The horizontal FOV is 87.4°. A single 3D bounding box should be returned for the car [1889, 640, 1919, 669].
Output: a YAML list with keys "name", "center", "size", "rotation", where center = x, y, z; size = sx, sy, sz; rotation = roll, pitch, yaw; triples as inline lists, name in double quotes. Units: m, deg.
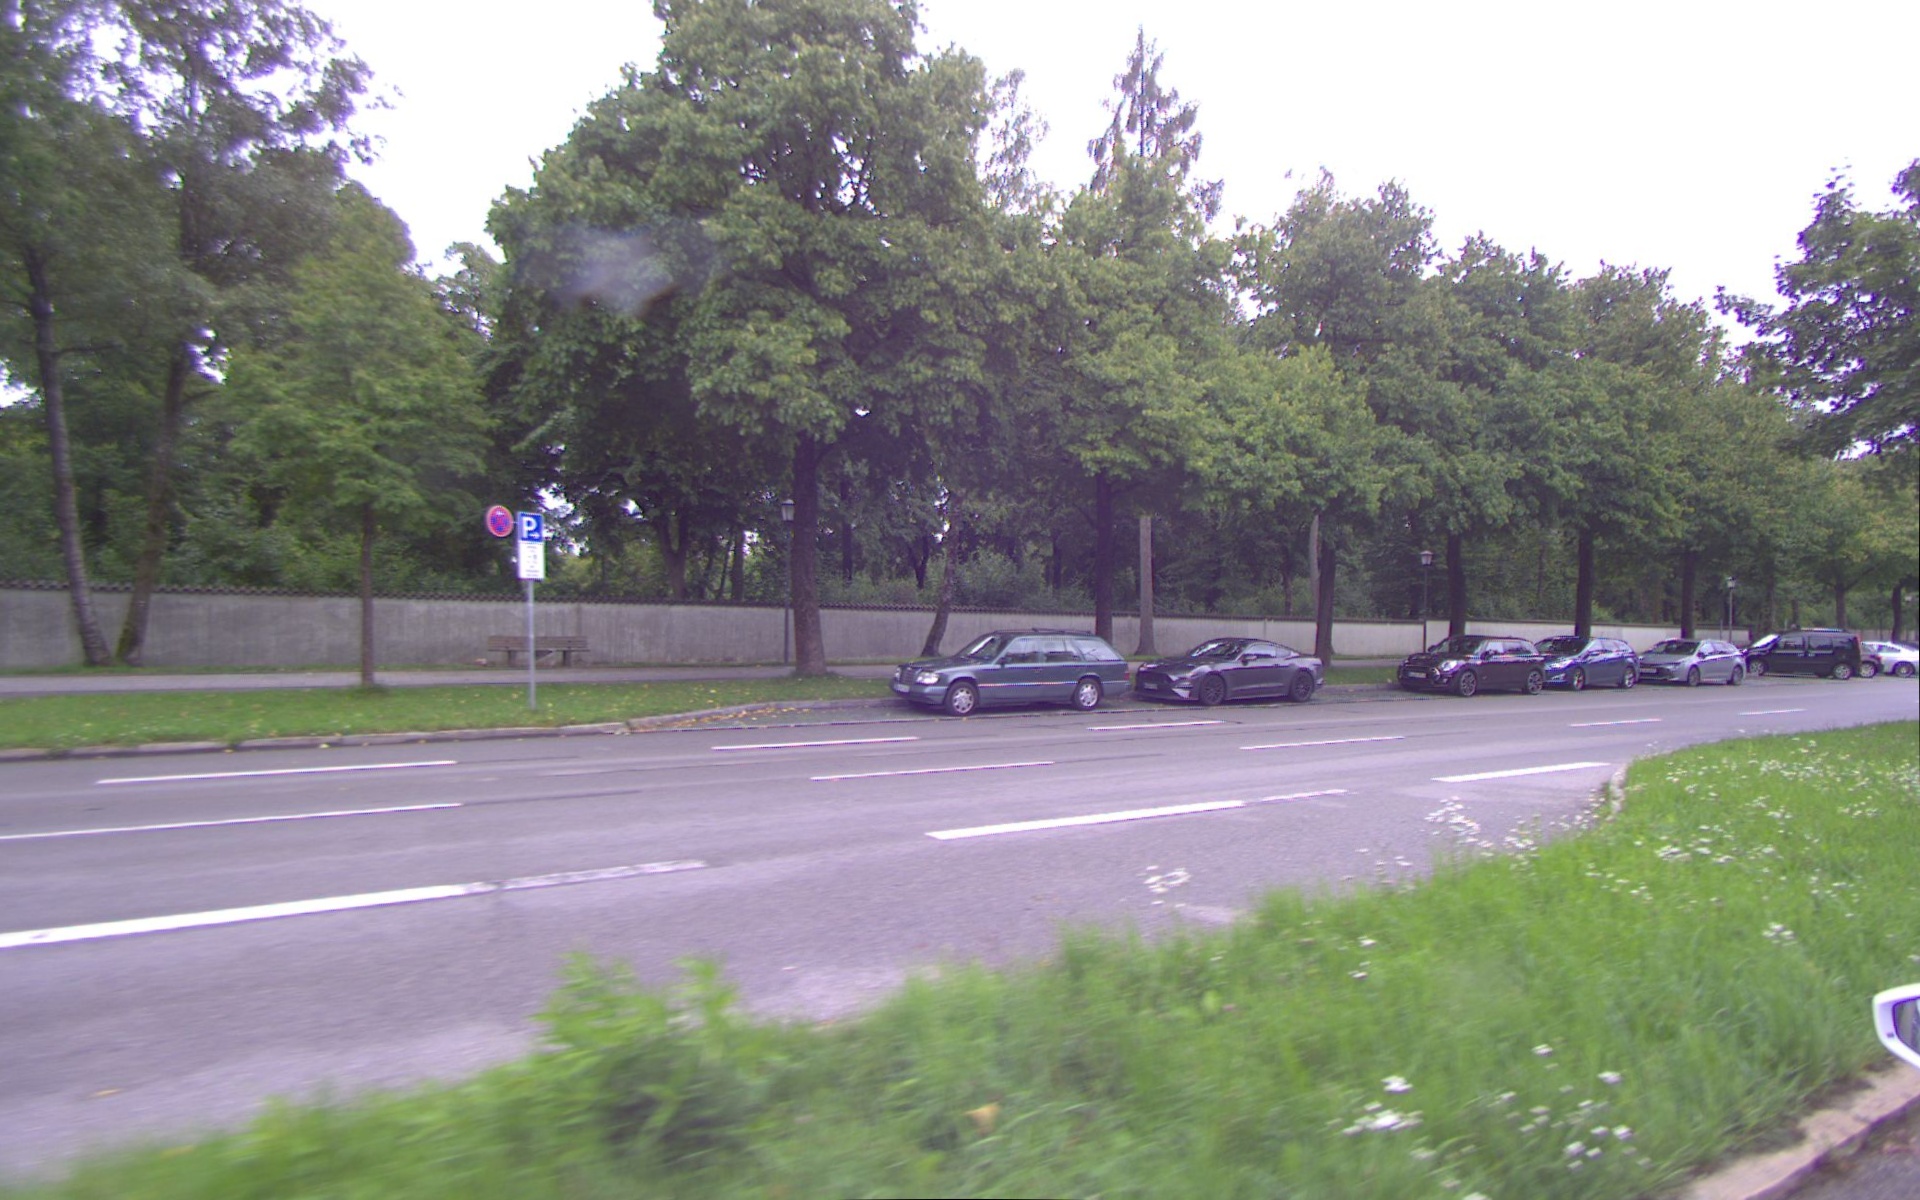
- name: "car"
  center: [49.802, 2.767, 50.543]
  size: [4.121, 1.428, 1.917]
  rotation: [0, -1, 27]

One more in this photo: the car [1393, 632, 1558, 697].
- name: "car"
  center: [13.339, 1.632, 25.967]
  size: [4.247, 1.523, 1.565]
  rotation: [1, 0, -26]

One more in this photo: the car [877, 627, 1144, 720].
- name: "car"
  center: [1.013, 1.322, 19.043]
  size: [4.857, 1.510, 1.790]
  rotation: [1, 0, -30]

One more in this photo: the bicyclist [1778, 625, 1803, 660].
- name: "bicyclist"
  center: [42.477, 2.156, 51.373]
  size: [0.912, 1.770, 0.702]
  rotation: [1, -1, -30]

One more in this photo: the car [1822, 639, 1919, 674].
- name: "car"
  center: [40.598, 2.481, 43.989]
  size: [3.967, 1.400, 1.673]
  rotation: [0, -1, 25]

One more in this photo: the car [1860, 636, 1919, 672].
- name: "car"
  center: [45.153, 2.539, 47.027]
  size: [4.028, 1.618, 1.919]
  rotation: [0, -1, 22]

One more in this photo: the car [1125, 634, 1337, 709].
- name: "car"
  center: [5.928, 1.491, 21.820]
  size: [4.651, 1.414, 1.651]
  rotation: [1, 0, -30]

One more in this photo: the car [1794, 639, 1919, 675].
- name: "car"
  center: [37.887, 2.388, 42.298]
  size: [3.925, 1.372, 1.849]
  rotation: [0, -1, 26]

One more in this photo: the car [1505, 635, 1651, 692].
- name: "car"
  center: [17.772, 1.776, 28.823]
  size: [4.745, 1.478, 1.578]
  rotation: [1, 0, -32]

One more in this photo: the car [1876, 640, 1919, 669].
- name: "car"
  center: [47.357, 2.676, 48.606]
  size: [4.125, 1.340, 1.917]
  rotation: [0, -1, 27]

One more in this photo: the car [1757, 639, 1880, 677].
- name: "car"
  center: [34.688, 2.333, 40.718]
  size: [3.517, 1.372, 1.750]
  rotation: [0, -1, 31]

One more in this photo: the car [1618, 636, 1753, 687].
- name: "car"
  center: [23.037, 1.916, 31.856]
  size: [4.750, 1.458, 1.629]
  rotation: [1, 0, -29]

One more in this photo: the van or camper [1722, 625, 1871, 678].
- name: "van or camper"
  center: [32.330, 1.961, 38.959]
  size: [4.044, 1.879, 1.850]
  rotation: [0, -1, 20]
